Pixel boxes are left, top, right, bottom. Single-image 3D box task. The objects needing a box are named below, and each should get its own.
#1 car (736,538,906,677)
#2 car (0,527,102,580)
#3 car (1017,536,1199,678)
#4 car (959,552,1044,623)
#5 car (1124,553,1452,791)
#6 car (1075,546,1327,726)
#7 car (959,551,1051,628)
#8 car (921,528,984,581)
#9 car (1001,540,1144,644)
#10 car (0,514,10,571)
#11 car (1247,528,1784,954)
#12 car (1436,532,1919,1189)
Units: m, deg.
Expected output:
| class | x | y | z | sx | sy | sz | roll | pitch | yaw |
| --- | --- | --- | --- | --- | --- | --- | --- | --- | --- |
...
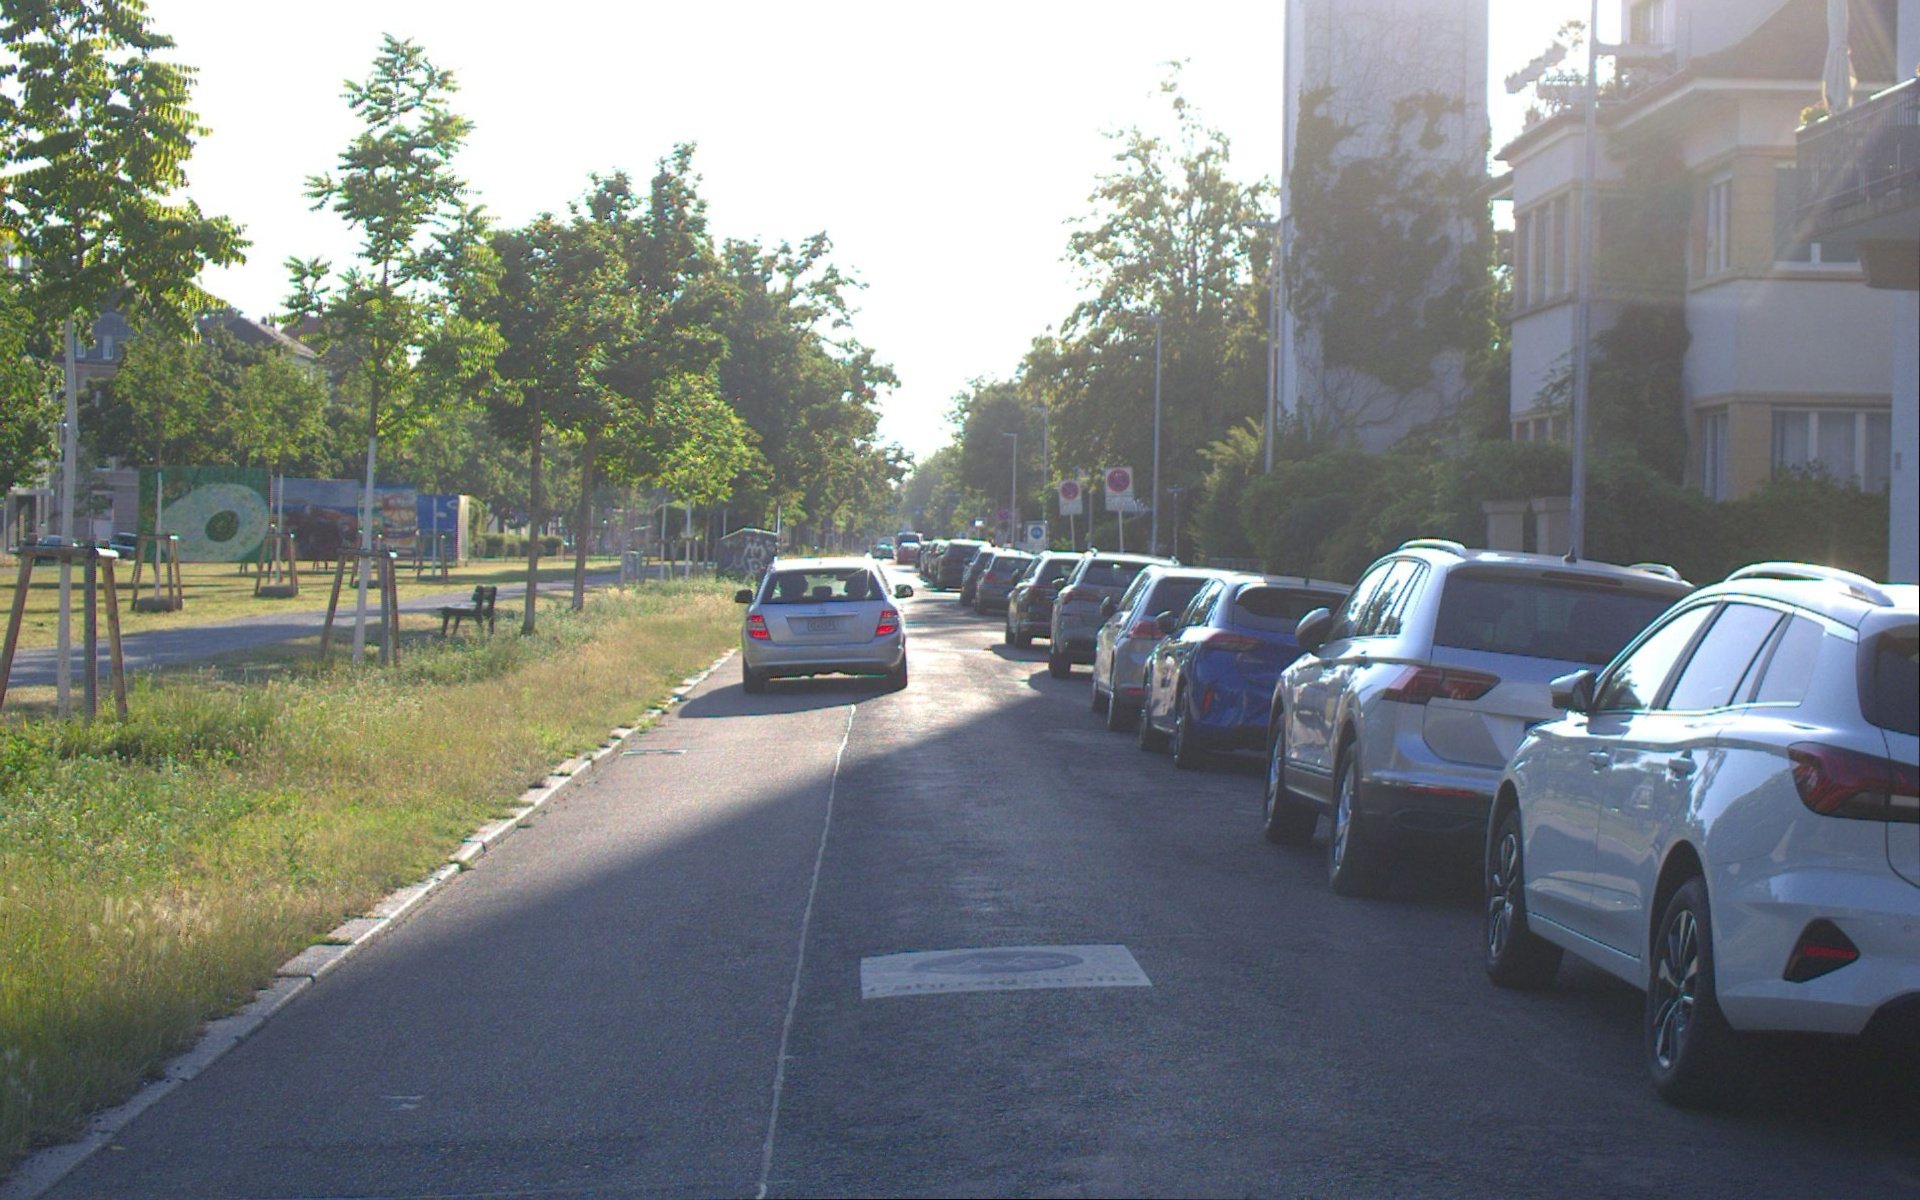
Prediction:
| class | x | y | z | sx | sy | sz | roll | pitch | yaw |
| --- | --- | --- | --- | --- | --- | --- | --- | --- | --- |
| car | -1.527 | 0.045 | 37.782 | 1.760 | 1.415 | 4.001 | 0 | 1 | -2 |
| car | -38.473 | -1.965 | 144.669 | 3.160 | 2.140 | 6.110 | -1 | 1 | 0 |
| car | 1.715 | 0.043 | 41.086 | 1.760 | 1.516 | 4.001 | 3 | 1 | -2 |
| car | 0.999 | -0.323 | 84.096 | 1.993 | 1.624 | 4.000 | 1 | 1 | 0 |
| car | 2.353 | 0.468 | 25.662 | 1.761 | 1.415 | 4.001 | 7 | 1 | -3 |
| car | 2.105 | 0.274 | 31.058 | 1.760 | 1.415 | 4.001 | 3 | 1 | -2 |
| car | 0.993 | -0.256 | 77.845 | 1.993 | 1.624 | 4.000 | 1 | 1 | 0 |
| car | -0.239 | -1.499 | 112.381 | 1.980 | 1.677 | 4.000 | 1 | 1 | 0 |
| car | 1.654 | -0.151 | 51.912 | 1.993 | 1.459 | 4.000 | 1 | 1 | 0 |
| car | -37.603 | -2.108 | 126.905 | 3.160 | 2.140 | 6.893 | -1 | 1 | 0 |
| car | 2.532 | 0.558 | 16.655 | 1.685 | 1.645 | 4.100 | 6 | 1 | -2 |
| car | 2.770 | 0.618 | 10.735 | 1.758 | 1.599 | 4.359 | 1 | 1 | -2 |
